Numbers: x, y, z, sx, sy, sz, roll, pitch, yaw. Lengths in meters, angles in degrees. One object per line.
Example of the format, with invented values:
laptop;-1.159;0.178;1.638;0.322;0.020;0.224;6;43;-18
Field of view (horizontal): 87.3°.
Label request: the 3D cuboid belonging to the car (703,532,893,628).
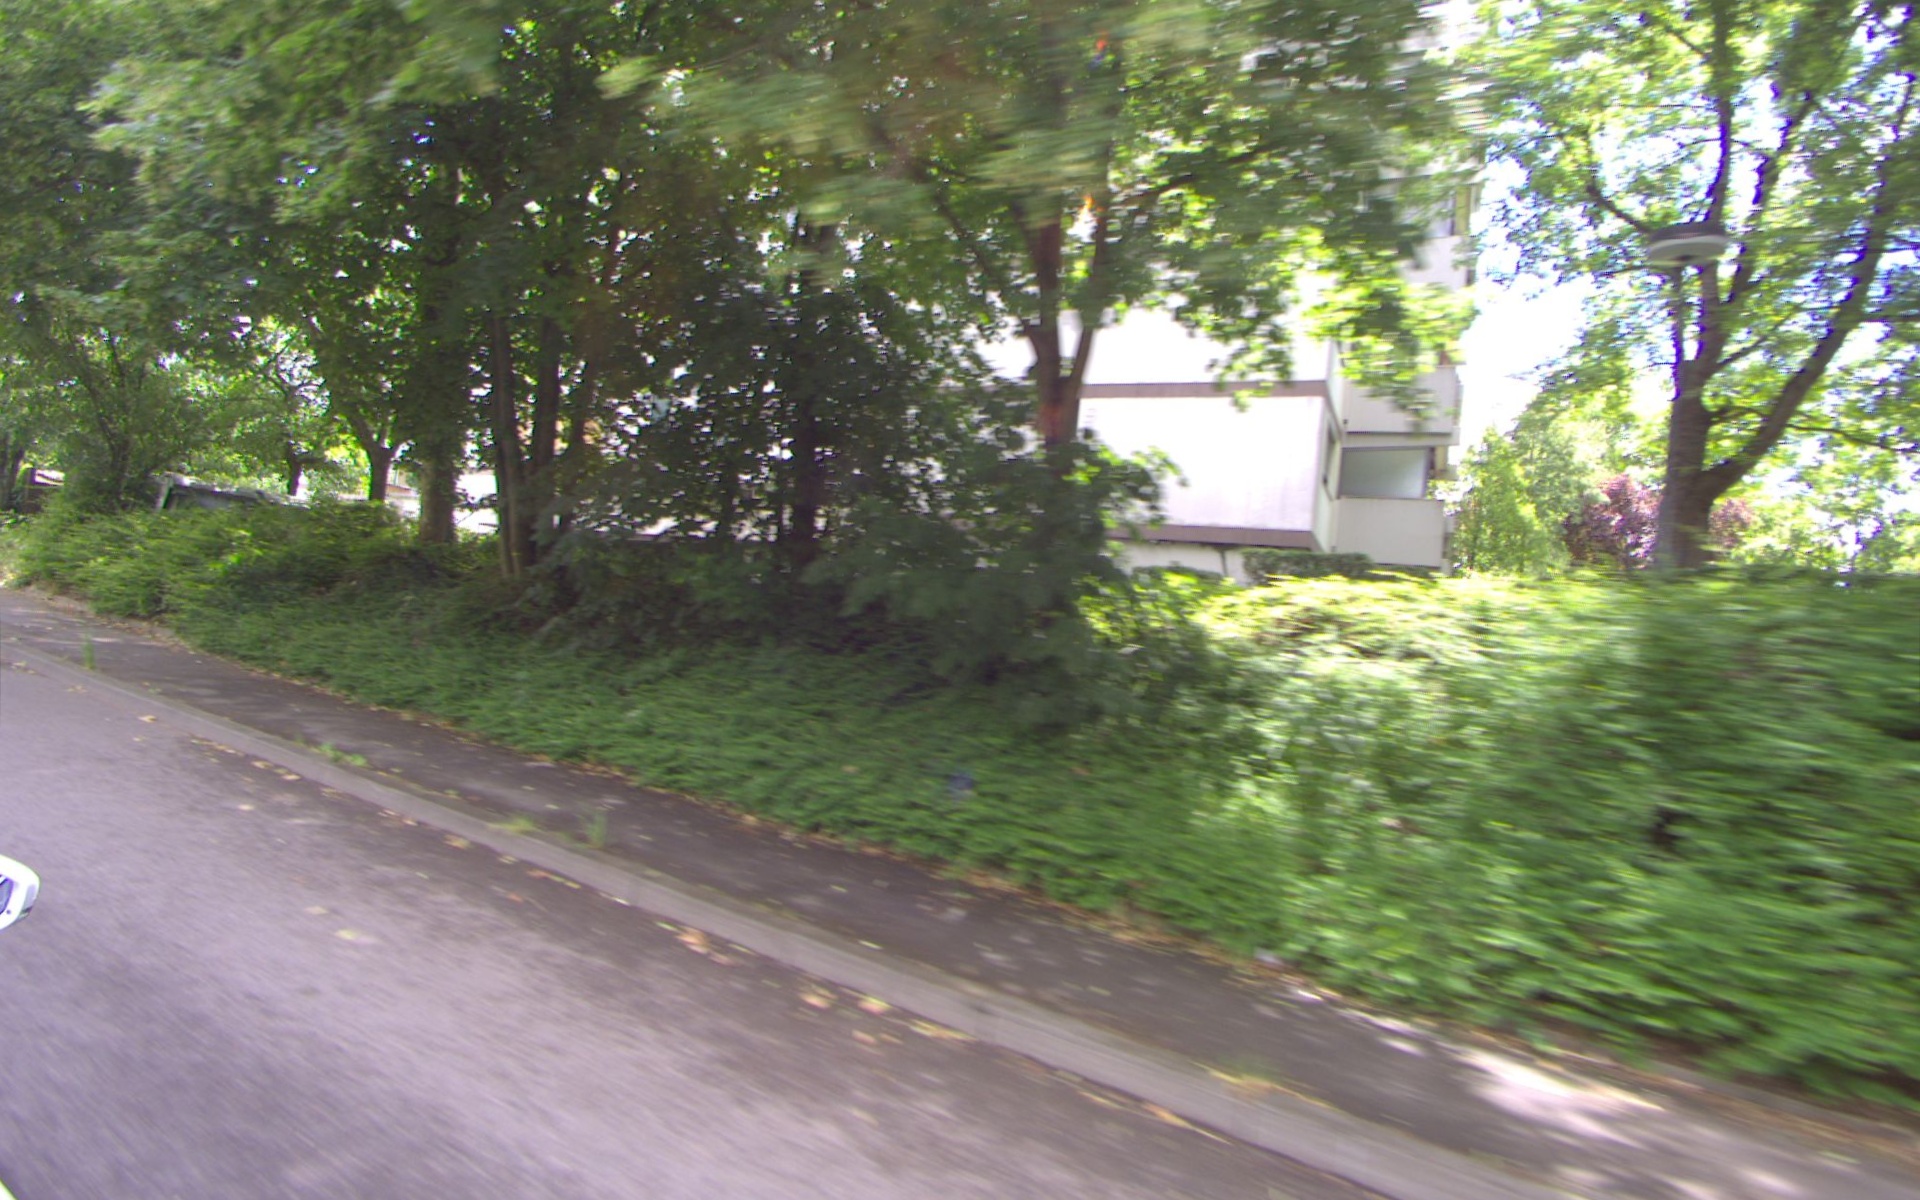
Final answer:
car;-3.325;-0.425;20.526;3.490;1.477;1.660;7;-1;33
